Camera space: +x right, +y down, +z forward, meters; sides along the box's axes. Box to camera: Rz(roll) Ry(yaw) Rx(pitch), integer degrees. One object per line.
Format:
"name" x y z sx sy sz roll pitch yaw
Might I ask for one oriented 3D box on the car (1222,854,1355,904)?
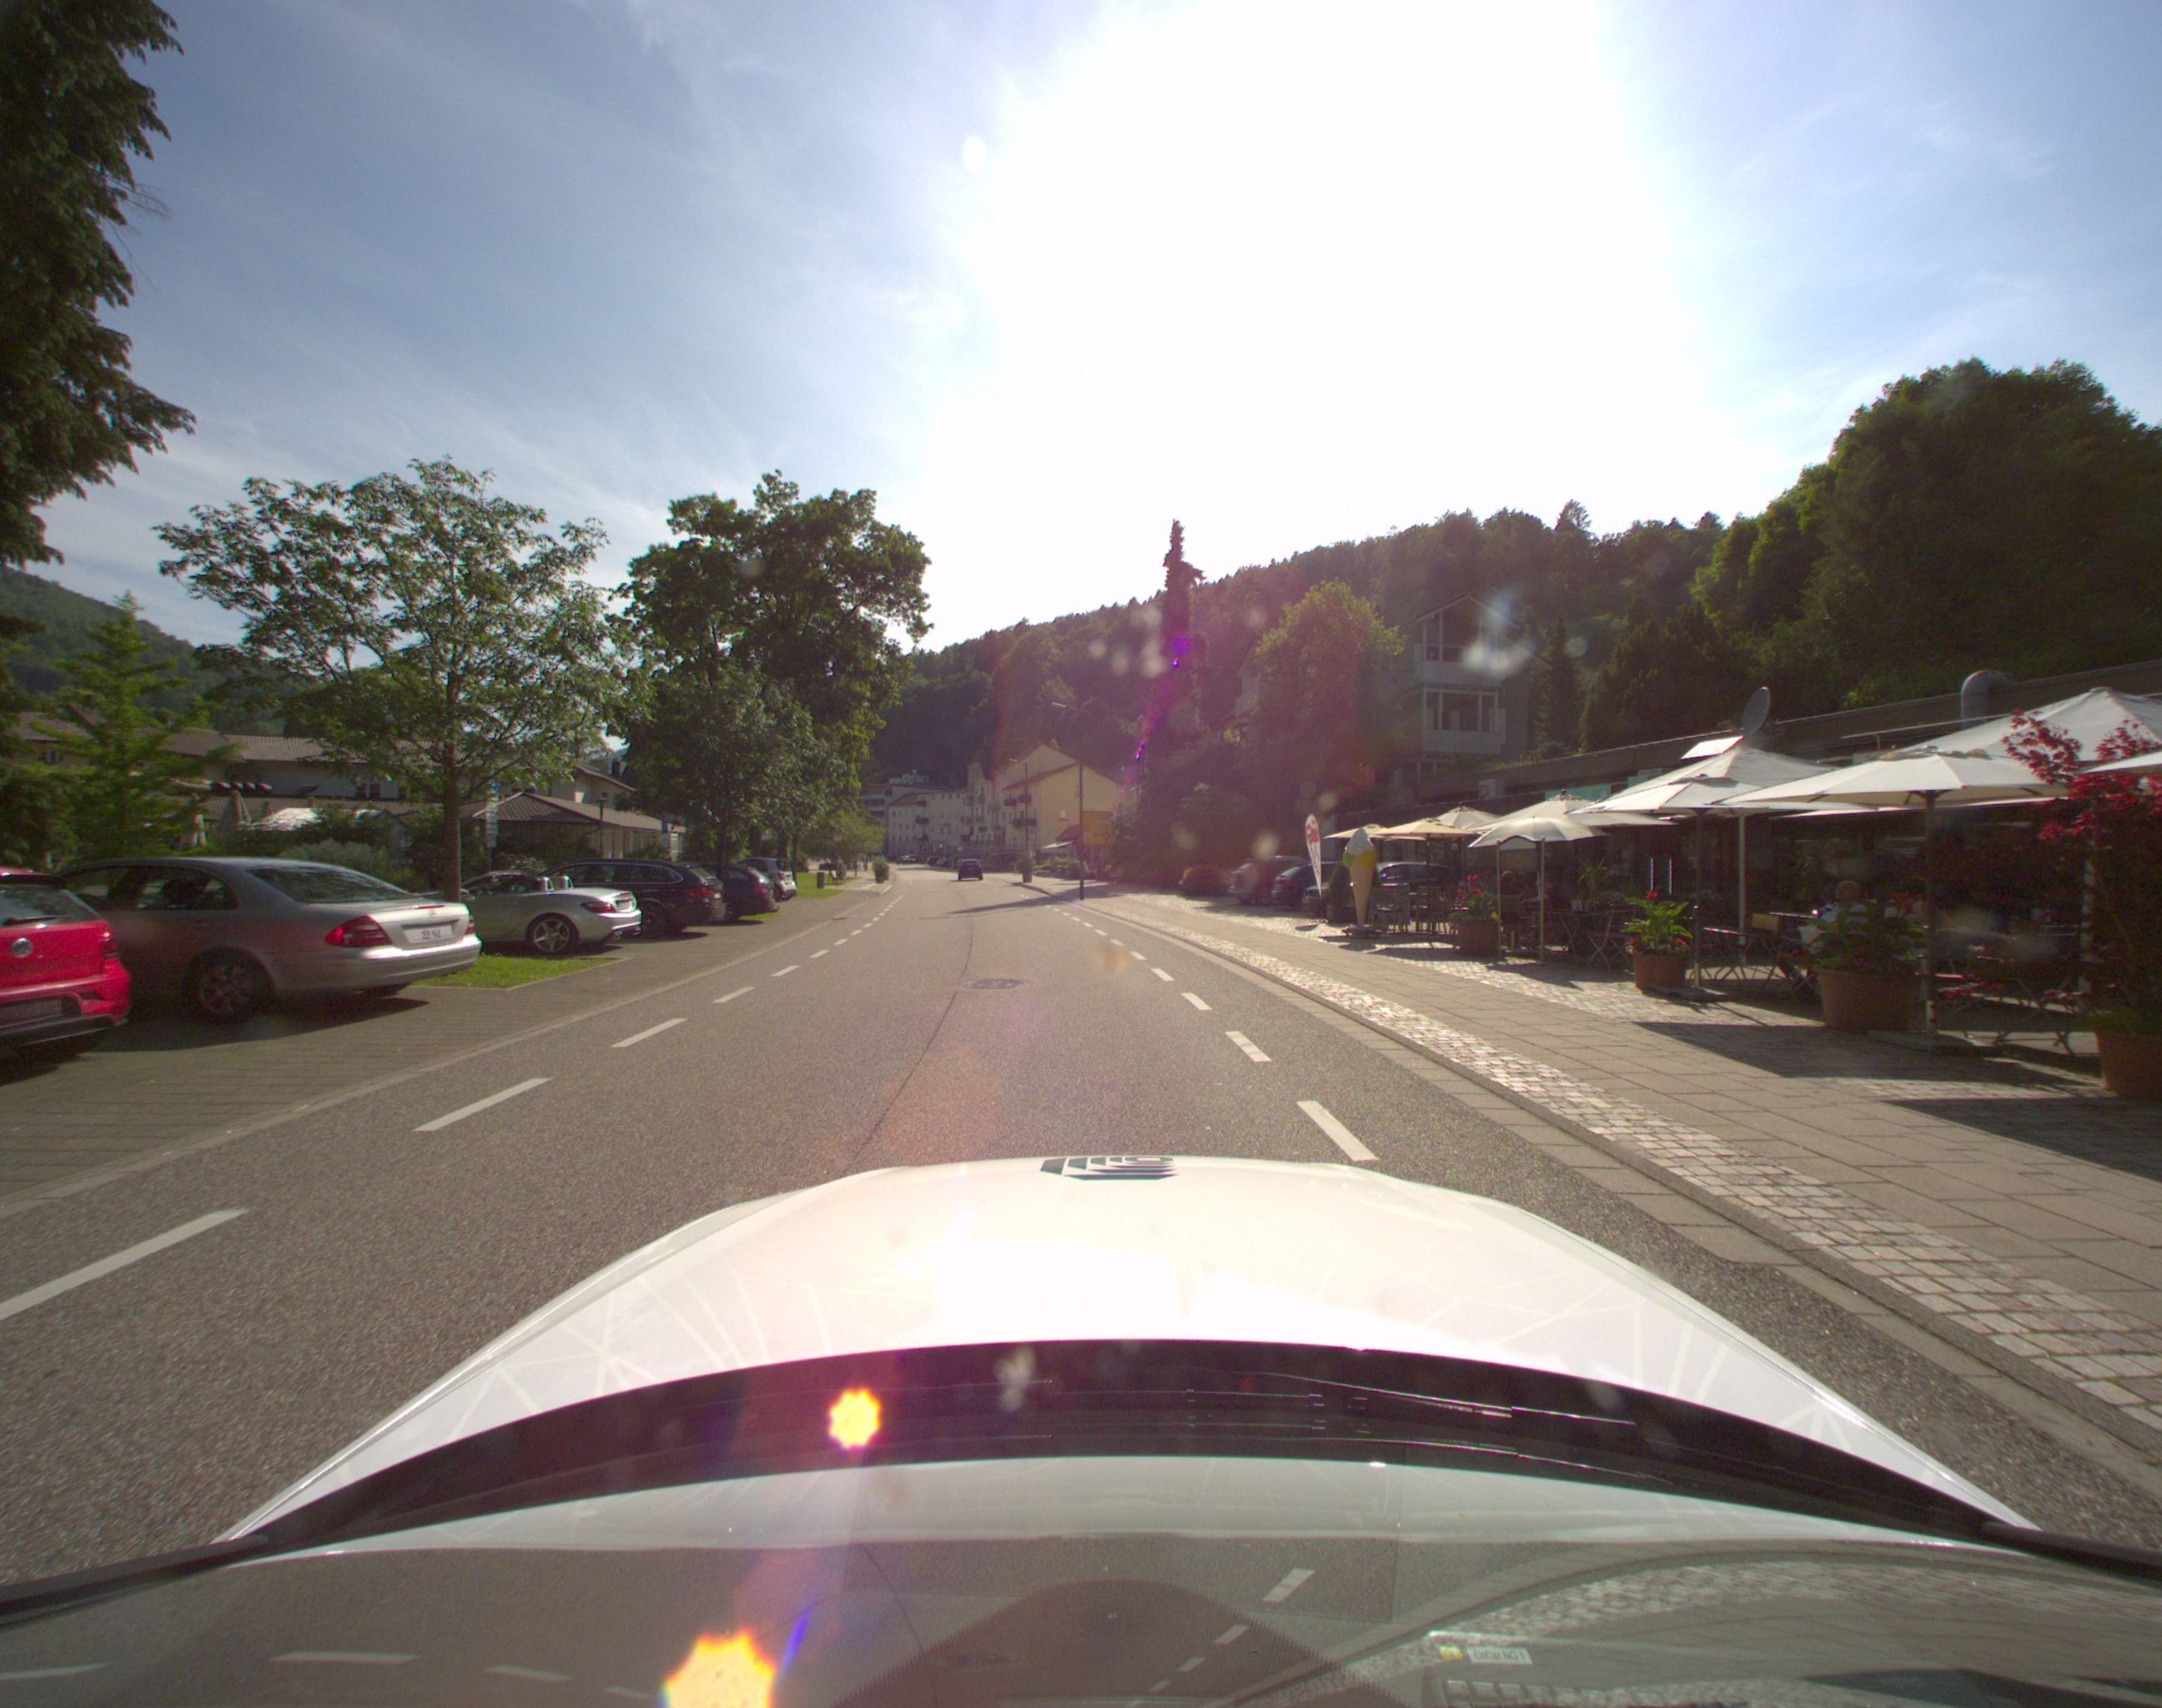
"car" 6.785 0.801 26.812 3.873 1.580 1.743 0 -1 -9

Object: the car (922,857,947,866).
"car" -26.816 1.373 148.985 4.044 1.516 1.752 -2 3 -40

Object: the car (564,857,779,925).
"car" -9.641 0.878 19.556 4.283 1.432 1.704 2 -1 -16

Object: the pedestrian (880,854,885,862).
"pedestrian" -39.576 0.834 162.330 0.764 1.594 0.620 2 -1 -42

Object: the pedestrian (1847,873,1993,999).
"pedestrian" 8.819 0.835 8.593 0.805 1.261 0.702 -1 -1 10

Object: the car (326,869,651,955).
"car" -9.301 0.909 13.124 3.794 1.243 1.756 1 -1 -11

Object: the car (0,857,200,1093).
"car" -8.730 0.700 5.173 3.983 1.432 1.715 2 -1 -8

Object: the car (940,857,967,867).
"car" -21.497 1.321 137.143 4.367 1.461 1.762 3 -2 -18

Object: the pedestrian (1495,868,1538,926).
"pedestrian" 9.783 0.944 18.316 0.693 1.261 0.816 -1 -1 17

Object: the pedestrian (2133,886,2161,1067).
"pedestrian" 7.816 0.852 5.600 0.474 1.245 0.588 -1 -1 -25

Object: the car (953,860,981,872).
"car" -17.683 1.848 126.153 3.922 1.589 1.763 4 -1 -20

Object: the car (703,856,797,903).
"car" -11.773 0.892 29.105 2.645 1.547 1.680 2 -1 -4

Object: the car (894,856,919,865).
"car" -31.887 1.153 149.122 4.012 1.662 1.981 -1 0 -30

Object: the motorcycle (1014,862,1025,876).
"motorcycle" -6.026 1.424 79.266 0.698 1.296 2.202 -2 0 -13

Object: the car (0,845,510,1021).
"car" -8.569 0.714 7.948 4.478 1.418 1.805 3 -2 -7

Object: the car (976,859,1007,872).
"car" -12.456 1.635 113.124 3.874 1.555 1.747 4 -1 -22

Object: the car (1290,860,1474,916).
"car" 7.870 0.862 21.446 4.260 1.379 1.704 0 -1 -9

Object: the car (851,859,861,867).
"car" -41.732 1.635 151.167 1.743 1.462 4.167 -1 0 -14

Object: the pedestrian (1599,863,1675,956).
"pedestrian" 8.689 0.842 12.735 0.704 1.381 0.803 0 -1 -39

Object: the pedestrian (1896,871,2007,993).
"pedestrian" 9.659 0.830 9.071 0.704 1.261 0.802 0 -1 -45

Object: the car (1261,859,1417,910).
"car" 7.602 0.879 24.174 4.107 1.415 1.743 0 -1 -9

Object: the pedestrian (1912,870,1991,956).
"pedestrian" 13.677 0.909 12.818 0.679 1.299 0.641 -1 -1 30

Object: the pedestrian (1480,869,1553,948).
"pedestrian" 7.246 0.884 13.555 0.812 1.261 0.696 0 -1 -18

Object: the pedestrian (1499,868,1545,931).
"pedestrian" 9.129 0.928 16.889 0.693 1.261 0.816 -1 -1 17

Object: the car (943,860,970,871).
"car" -19.997 1.840 131.008 3.922 1.461 1.725 3 -1 -20

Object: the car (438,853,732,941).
"car" -9.424 0.816 15.843 4.494 1.510 1.707 2 -1 -11

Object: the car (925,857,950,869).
"car" -24.929 1.564 141.380 4.096 1.666 1.761 4 -1 -20

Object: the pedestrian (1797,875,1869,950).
"pedestrian" 12.663 0.959 13.729 0.679 1.208 0.704 -1 -1 23

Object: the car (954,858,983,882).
"car" -8.292 1.181 59.958 1.729 1.574 3.736 2 1 -13
